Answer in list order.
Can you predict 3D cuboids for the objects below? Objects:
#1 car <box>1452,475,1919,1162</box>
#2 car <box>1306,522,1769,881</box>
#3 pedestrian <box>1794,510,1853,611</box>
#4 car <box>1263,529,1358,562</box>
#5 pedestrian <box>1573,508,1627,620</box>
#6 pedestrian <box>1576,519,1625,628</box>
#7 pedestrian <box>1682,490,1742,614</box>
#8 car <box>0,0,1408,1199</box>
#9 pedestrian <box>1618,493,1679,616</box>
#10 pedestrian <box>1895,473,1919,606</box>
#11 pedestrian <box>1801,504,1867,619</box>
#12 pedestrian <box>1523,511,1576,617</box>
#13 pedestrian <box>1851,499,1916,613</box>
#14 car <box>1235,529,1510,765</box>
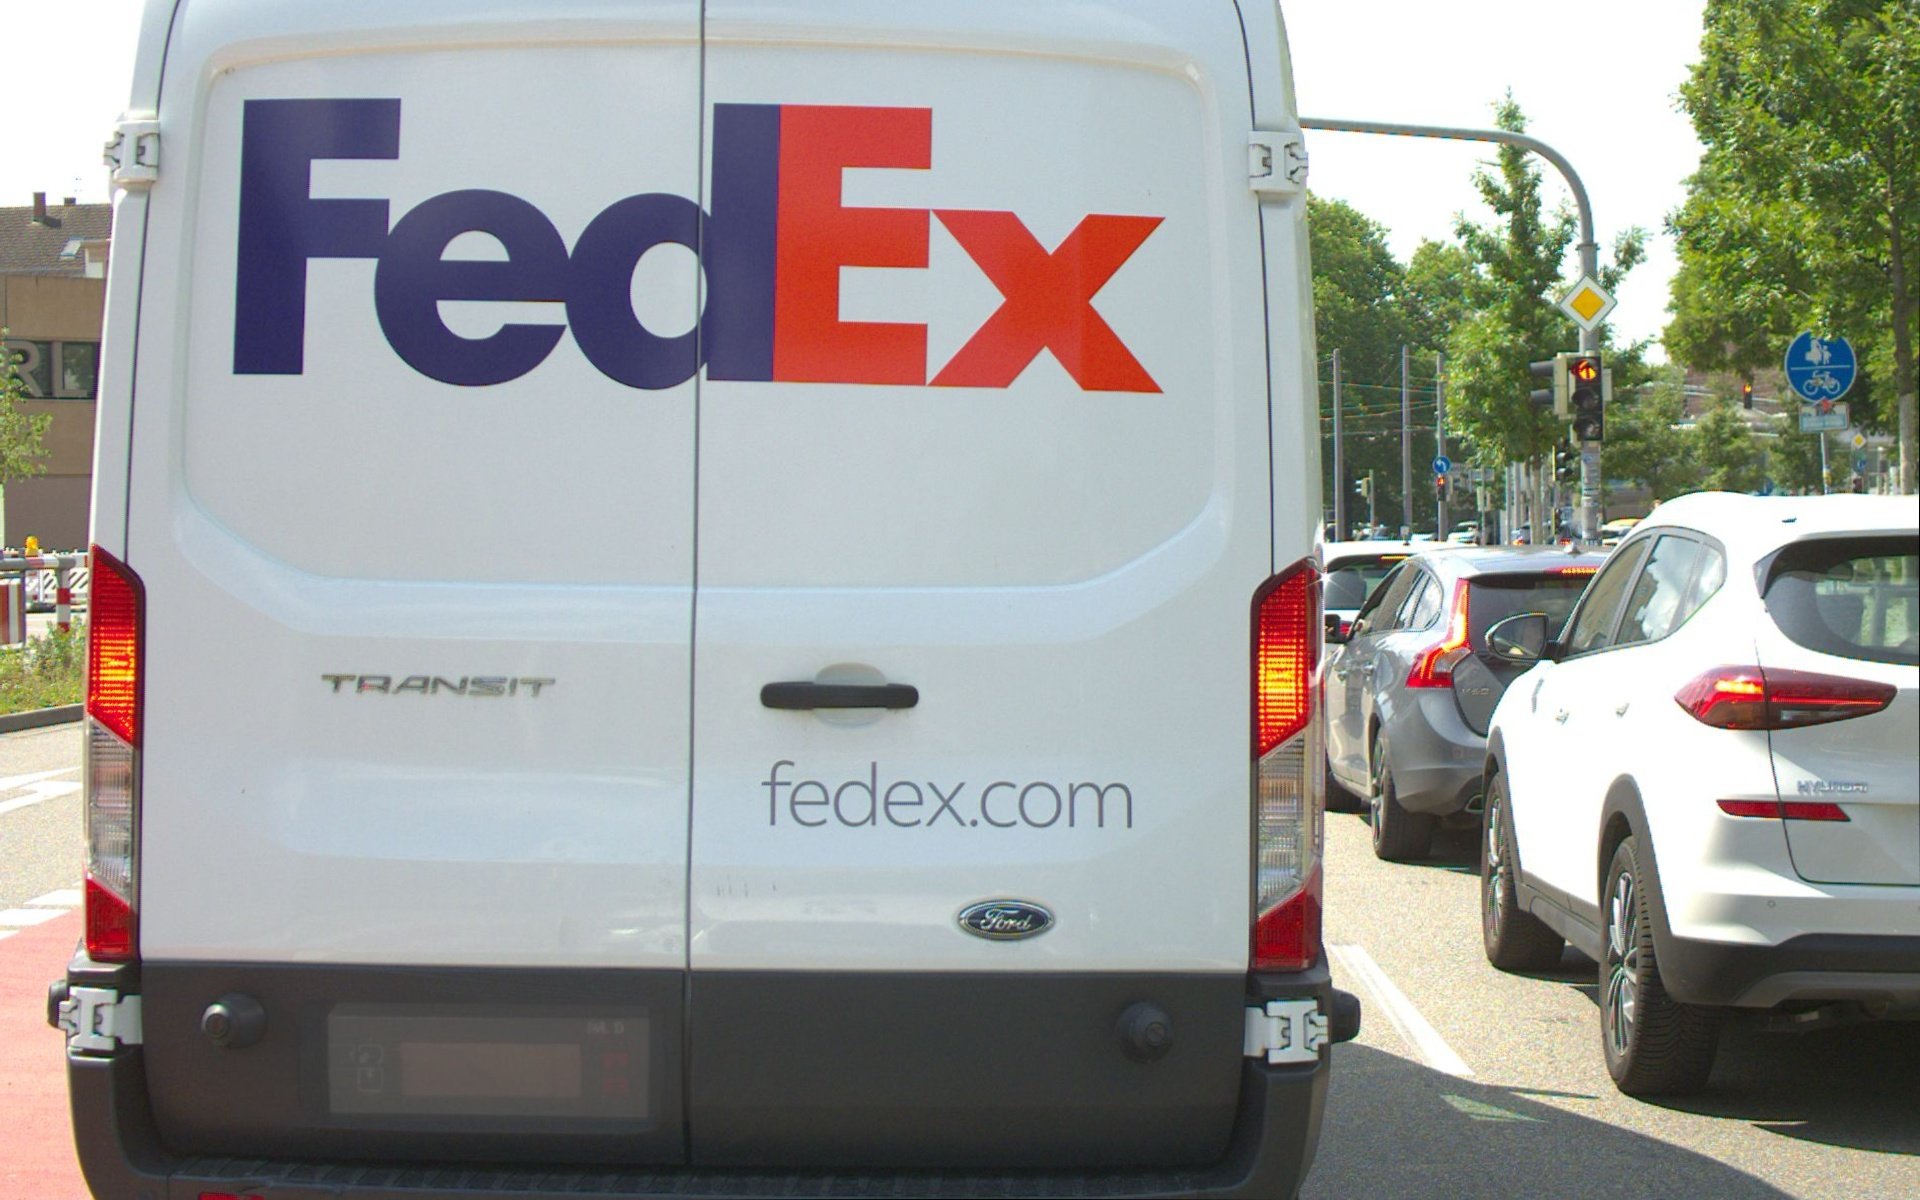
[{"bbox_3d":[2.649,0.478,10.353,1.814,1.673,3.974,0,1,1],"label":"car"},{"bbox_3d":[2.708,0.403,16.862,1.691,1.543,3.720,0,1,1],"label":"car"},{"bbox_3d":[15.860,-0.731,63.177,0.758,1.843,0.816,-1,1,-13],"label":"pedestrian"},{"bbox_3d":[16.325,-2.545,160.291,4.232,1.493,1.741,-1,1,-1],"label":"car"},{"bbox_3d":[10.551,-0.598,56.684,0.759,1.843,0.815,0,1,18],"label":"pedestrian"},{"bbox_3d":[11.007,-0.463,59.043,0.759,1.843,0.816,0,1,15],"label":"pedestrian"},{"bbox_3d":[11.381,-0.730,52.046,0.759,1.843,0.816,-1,1,3],"label":"pedestrian"},{"bbox_3d":[-0.359,0.075,7.175,2.072,2.572,4.428,0,1,1],"label":"car"},{"bbox_3d":[10.385,-0.689,51.875,0.759,1.843,0.816,-1,1,1],"label":"pedestrian"},{"bbox_3d":[13.060,-0.821,46.312,0.759,1.783,0.816,0,1,5],"label":"pedestrian"},{"bbox_3d":[14.222,-0.634,55.944,0.758,1.843,0.816,-1,1,-10],"label":"pedestrian"},{"bbox_3d":[10.270,-0.633,59.910,0.813,1.843,0.761,0,1,3],"label":"pedestrian"},{"bbox_3d":[15.102,-0.730,56.210,0.758,1.843,0.816,-1,1,-8],"label":"pedestrian"},{"bbox_3d":[2.731,0.260,23.359,1.499,1.459,3.474,0,1,1],"label":"car"}]
